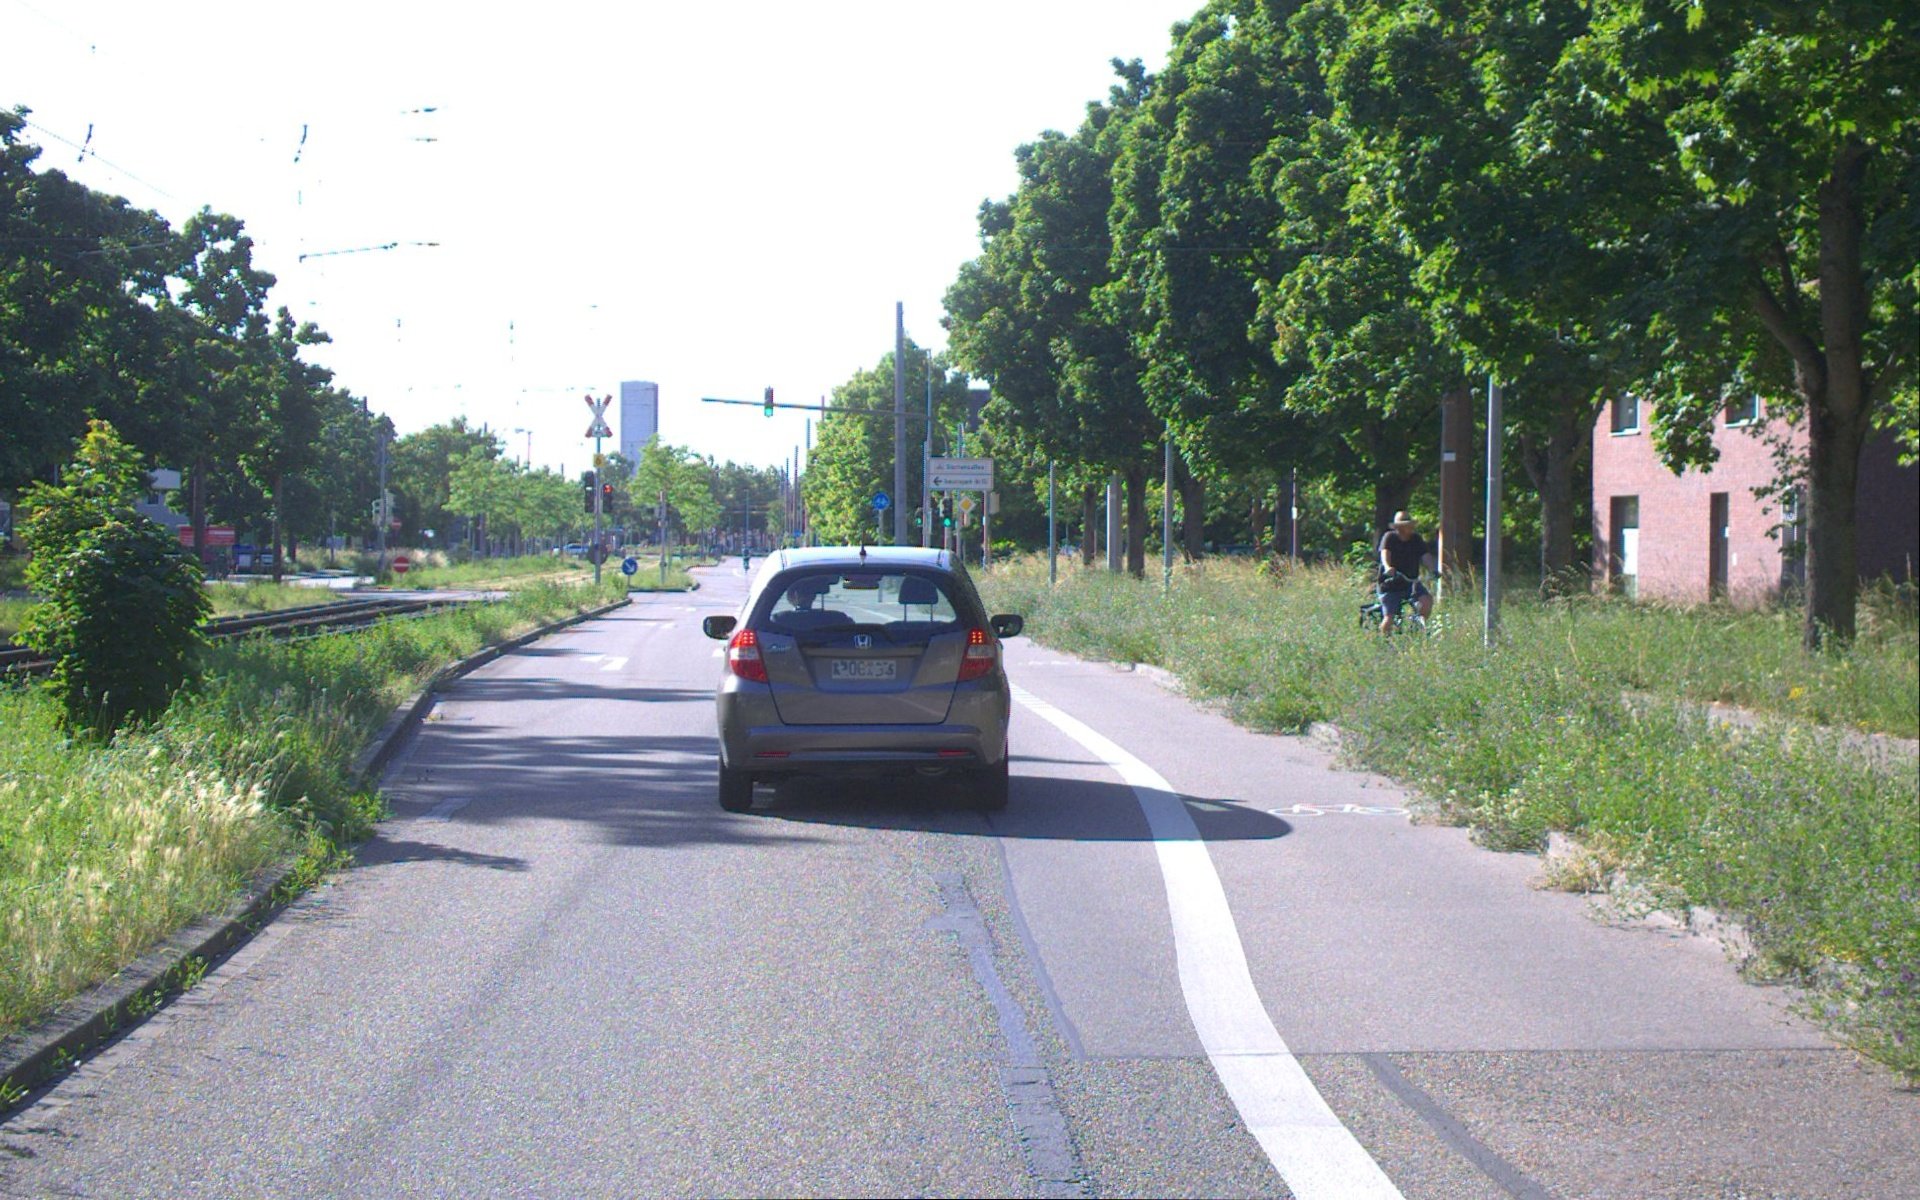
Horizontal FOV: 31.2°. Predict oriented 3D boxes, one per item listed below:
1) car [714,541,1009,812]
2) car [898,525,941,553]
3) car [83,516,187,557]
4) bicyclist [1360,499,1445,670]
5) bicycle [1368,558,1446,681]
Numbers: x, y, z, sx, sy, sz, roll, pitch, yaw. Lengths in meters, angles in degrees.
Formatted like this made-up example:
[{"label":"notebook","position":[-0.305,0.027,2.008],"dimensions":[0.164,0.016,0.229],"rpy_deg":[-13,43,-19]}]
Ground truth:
[{"label":"car","position":[-0.604,0.395,20.769],"dimensions":[1.624,1.494,3.457],"rpy_deg":[0,1,-2]},{"label":"car","position":[-2.113,-3.146,177.549],"dimensions":[1.773,1.382,3.871],"rpy_deg":[0,1,-7]},{"label":"car","position":[-39.703,-3.062,165.546],"dimensions":[1.858,1.967,4.776],"rpy_deg":[1,2,37]},{"label":"bicyclist","position":[4.506,-0.162,35.053],"dimensions":[0.683,1.714,0.902],"rpy_deg":[1,0,-3]},{"label":"bicycle","position":[4.528,0.207,34.935],"dimensions":[0.483,1.200,2.143],"rpy_deg":[1,-1,-1]}]
